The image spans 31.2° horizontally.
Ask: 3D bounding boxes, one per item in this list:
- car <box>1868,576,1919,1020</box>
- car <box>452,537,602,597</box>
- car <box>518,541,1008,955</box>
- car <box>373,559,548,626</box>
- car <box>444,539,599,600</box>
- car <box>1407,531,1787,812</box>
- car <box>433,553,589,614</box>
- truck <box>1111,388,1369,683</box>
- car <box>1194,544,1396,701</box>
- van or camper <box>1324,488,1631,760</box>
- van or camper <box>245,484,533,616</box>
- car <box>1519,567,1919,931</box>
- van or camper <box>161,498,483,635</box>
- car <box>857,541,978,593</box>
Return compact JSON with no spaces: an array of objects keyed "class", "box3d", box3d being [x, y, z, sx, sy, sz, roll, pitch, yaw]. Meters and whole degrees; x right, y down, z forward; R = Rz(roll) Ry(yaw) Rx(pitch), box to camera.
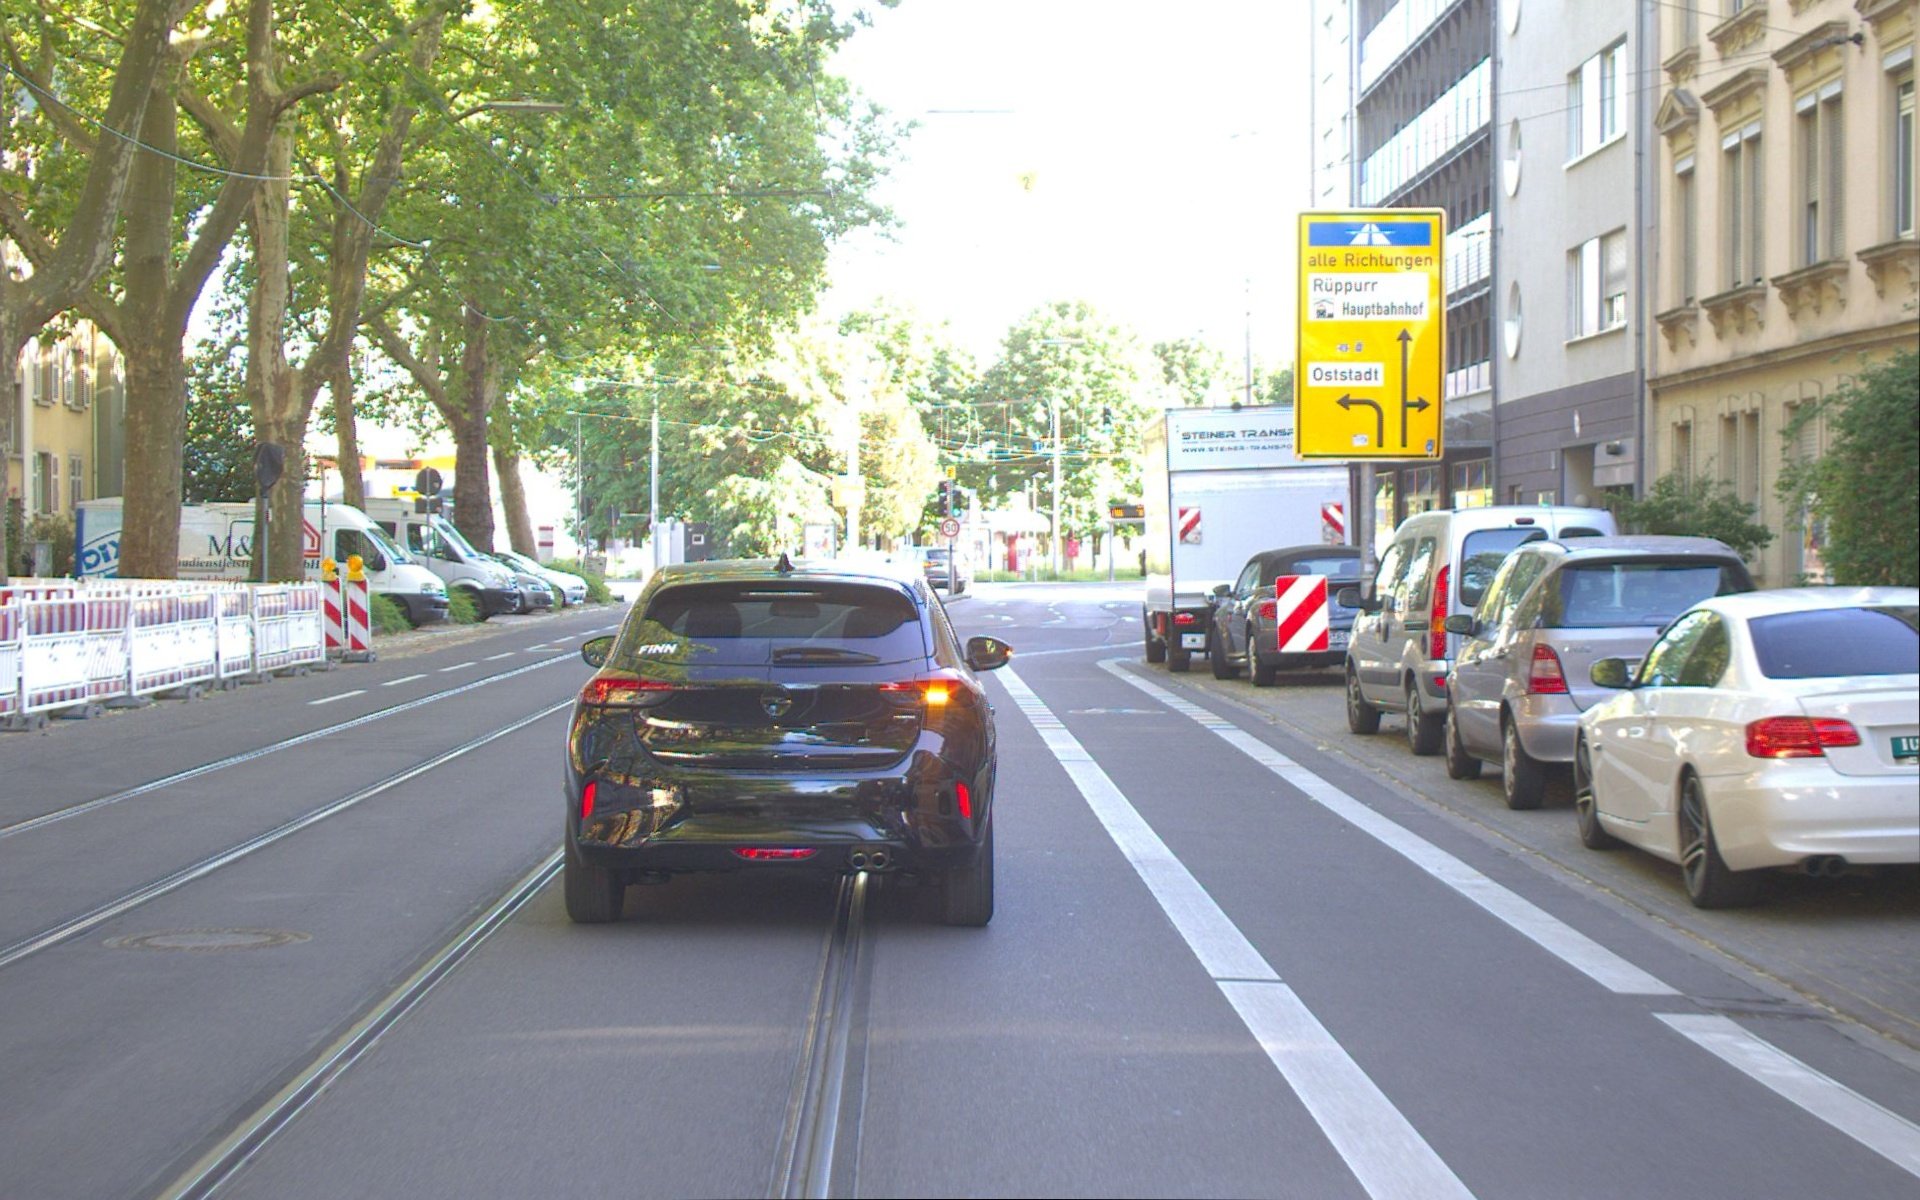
[{"class":"car","box3d":[4.083,0.674,10.441,1.591,1.521,3.835,-1,0,0]},{"class":"car","box3d":[-12.399,-0.949,98.604,4.167,1.665,1.965,0,1,-3]},{"class":"car","box3d":[-0.764,0.514,14.699,1.781,1.491,4.000,1,1,-1]},{"class":"car","box3d":[-12.180,-0.195,84.018,3.987,1.510,1.650,2,0,1]},{"class":"car","box3d":[-12.256,-0.853,96.253,4.167,1.665,1.965,0,1,-3]},{"class":"car","box3d":[3.839,0.376,21.262,1.660,1.575,3.589,-1,1,0]},{"class":"car","box3d":[-12.167,-0.449,93.279,3.987,1.510,1.650,2,0,1]},{"class":"truck","box3d":[3.408,-0.787,43.462,2.538,3.327,7.195,-2,1,0]},{"class":"car","box3d":[3.587,0.208,37.457,1.730,1.552,4.152,-2,1,0]},{"class":"van or camper","box3d":[3.839,0.133,26.107,1.669,1.876,4.211,-1,1,0]},{"class":"van or camper","box3d":[-12.187,-1.069,73.640,5.723,2.635,2.269,2,0,0]},{"class":"car","box3d":[3.922,0.581,16.306,1.659,1.394,4.740,-1,1,-1]},{"class":"van or camper","box3d":[-11.903,-0.619,64.395,5.502,2.371,2.269,2,0,3]},{"class":"car","box3d":[-1.463,-1.111,115.997,1.993,1.690,4.740,-2,1,-29]}]
